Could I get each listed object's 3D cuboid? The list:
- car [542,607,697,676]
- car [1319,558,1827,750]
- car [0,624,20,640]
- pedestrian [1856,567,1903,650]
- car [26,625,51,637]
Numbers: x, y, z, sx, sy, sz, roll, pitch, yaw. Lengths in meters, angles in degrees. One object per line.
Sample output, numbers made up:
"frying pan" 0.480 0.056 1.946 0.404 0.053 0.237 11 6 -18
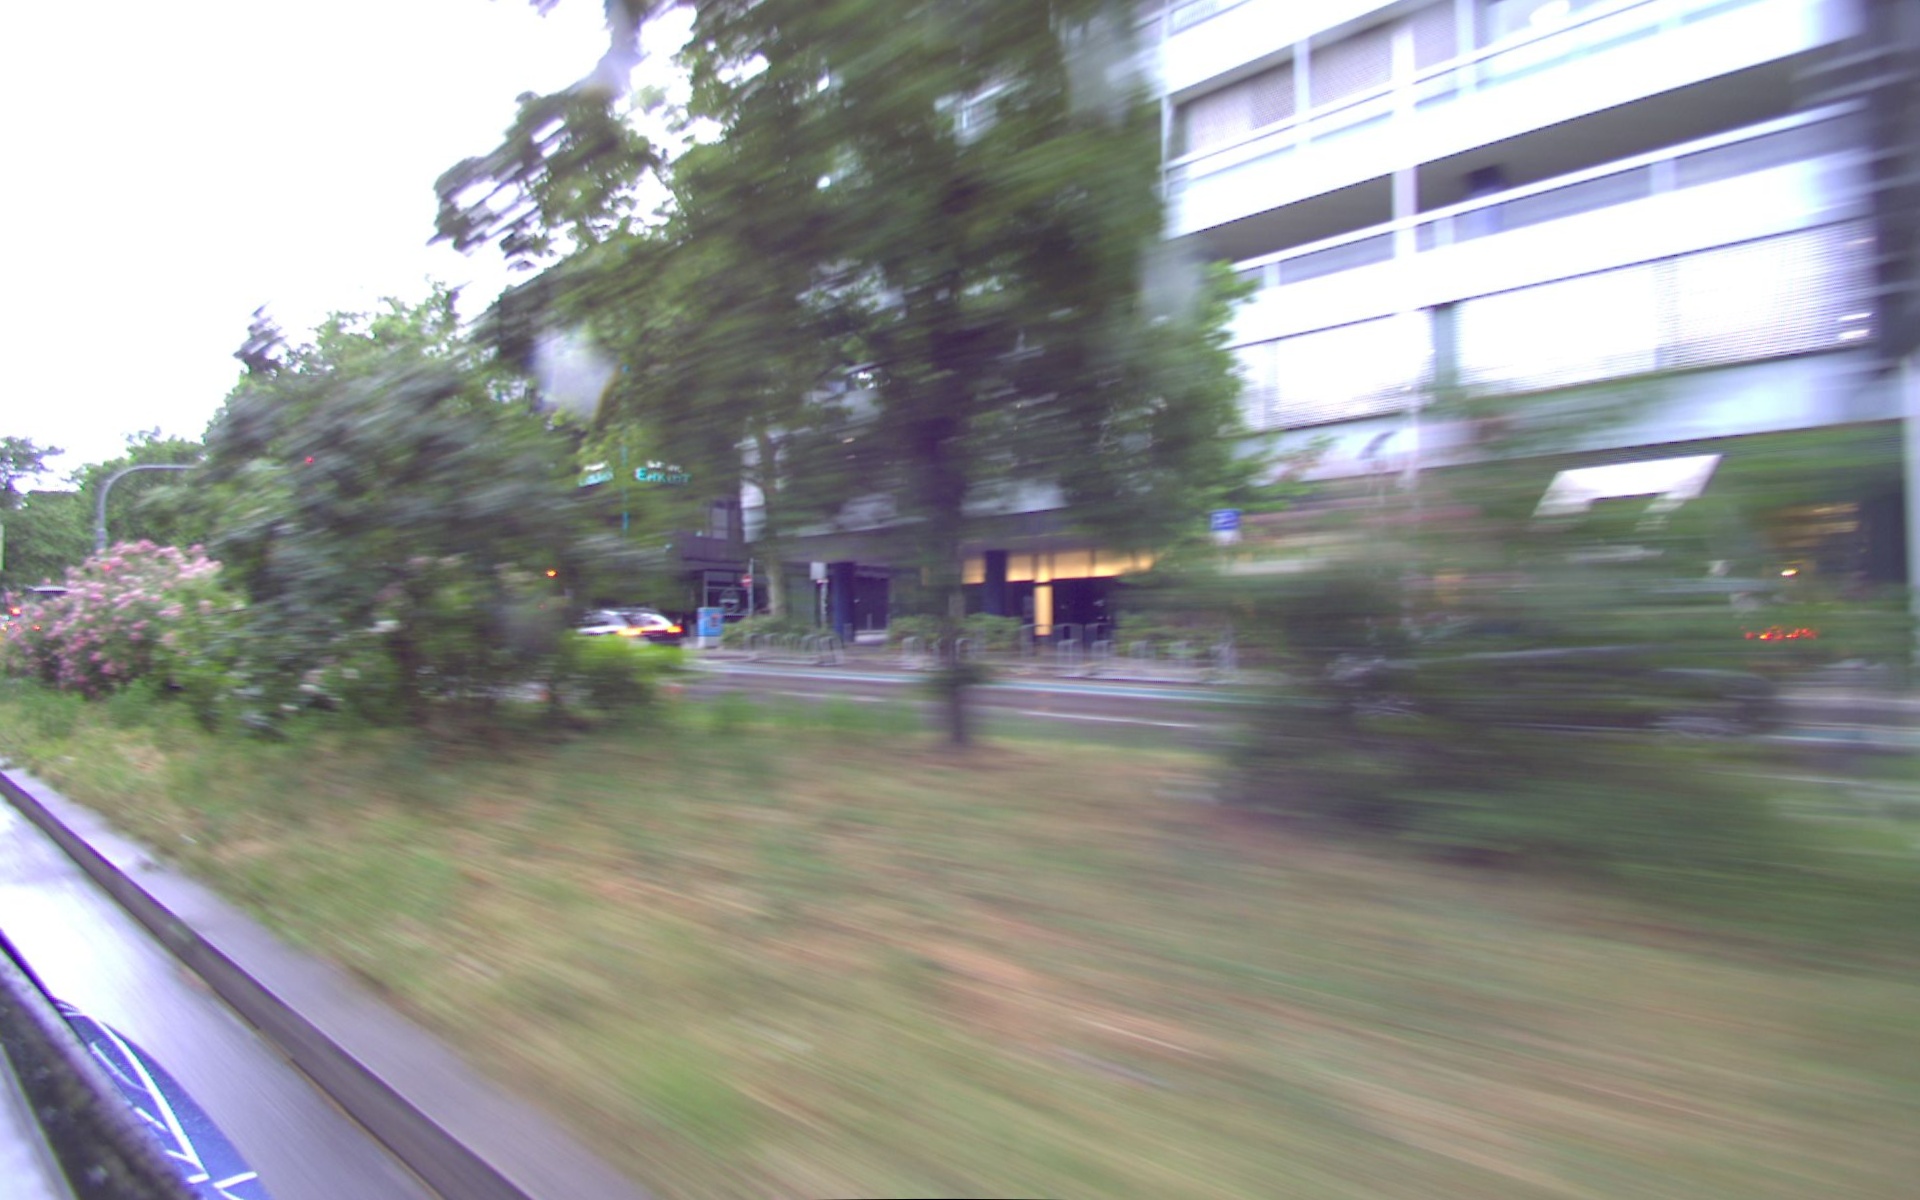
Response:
"car" -8.959 1.002 26.427 4.748 1.596 1.888 0 1 45
"car" 6.803 0.522 11.593 4.674 1.769 1.893 -2 0 43
"car" -108.440 3.629 115.141 3.725 1.586 1.759 0 1 39
"pedestrian" 16.912 0.151 18.625 0.574 1.493 0.604 -1 1 38
"car" -109.937 3.703 120.709 3.736 1.335 1.743 0 1 41
